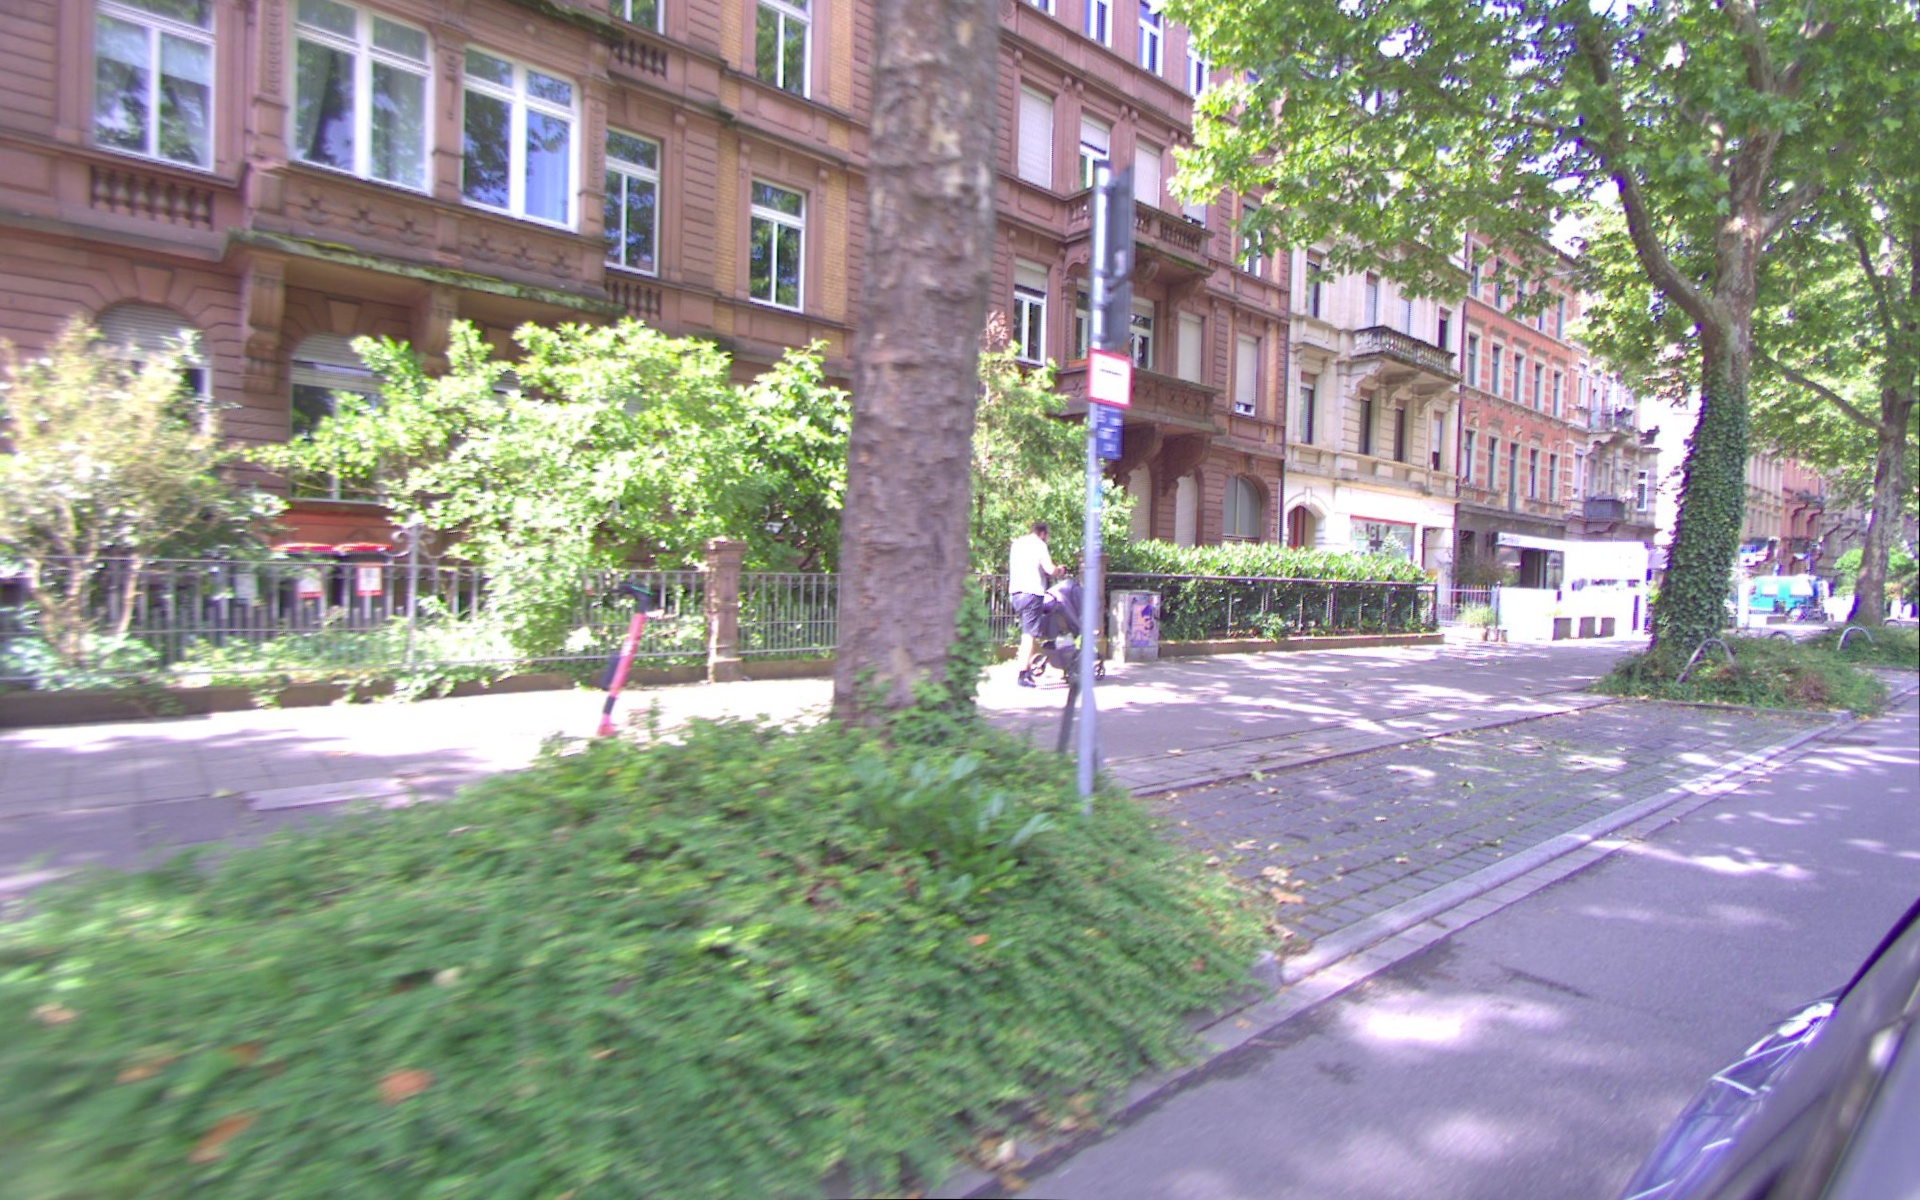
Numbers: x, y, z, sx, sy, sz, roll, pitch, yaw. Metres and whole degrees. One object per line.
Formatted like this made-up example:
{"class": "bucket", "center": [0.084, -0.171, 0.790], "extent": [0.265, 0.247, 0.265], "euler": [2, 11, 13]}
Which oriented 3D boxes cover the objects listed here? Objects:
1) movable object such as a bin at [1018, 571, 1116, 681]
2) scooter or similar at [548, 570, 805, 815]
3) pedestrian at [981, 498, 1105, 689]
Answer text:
{"class": "movable object such as a bin", "center": [1.291, 0.293, 12.147], "extent": [0.607, 1.224, 1.042], "euler": [5, 4, 43]}
{"class": "scooter or similar", "center": [-1.566, 0.462, 5.703], "extent": [1.300, 1.226, 0.468], "euler": [1, 1, -41]}
{"class": "pedestrian", "center": [0.943, -0.089, 11.476], "extent": [0.764, 2.038, 1.102], "euler": [6, 4, 44]}
